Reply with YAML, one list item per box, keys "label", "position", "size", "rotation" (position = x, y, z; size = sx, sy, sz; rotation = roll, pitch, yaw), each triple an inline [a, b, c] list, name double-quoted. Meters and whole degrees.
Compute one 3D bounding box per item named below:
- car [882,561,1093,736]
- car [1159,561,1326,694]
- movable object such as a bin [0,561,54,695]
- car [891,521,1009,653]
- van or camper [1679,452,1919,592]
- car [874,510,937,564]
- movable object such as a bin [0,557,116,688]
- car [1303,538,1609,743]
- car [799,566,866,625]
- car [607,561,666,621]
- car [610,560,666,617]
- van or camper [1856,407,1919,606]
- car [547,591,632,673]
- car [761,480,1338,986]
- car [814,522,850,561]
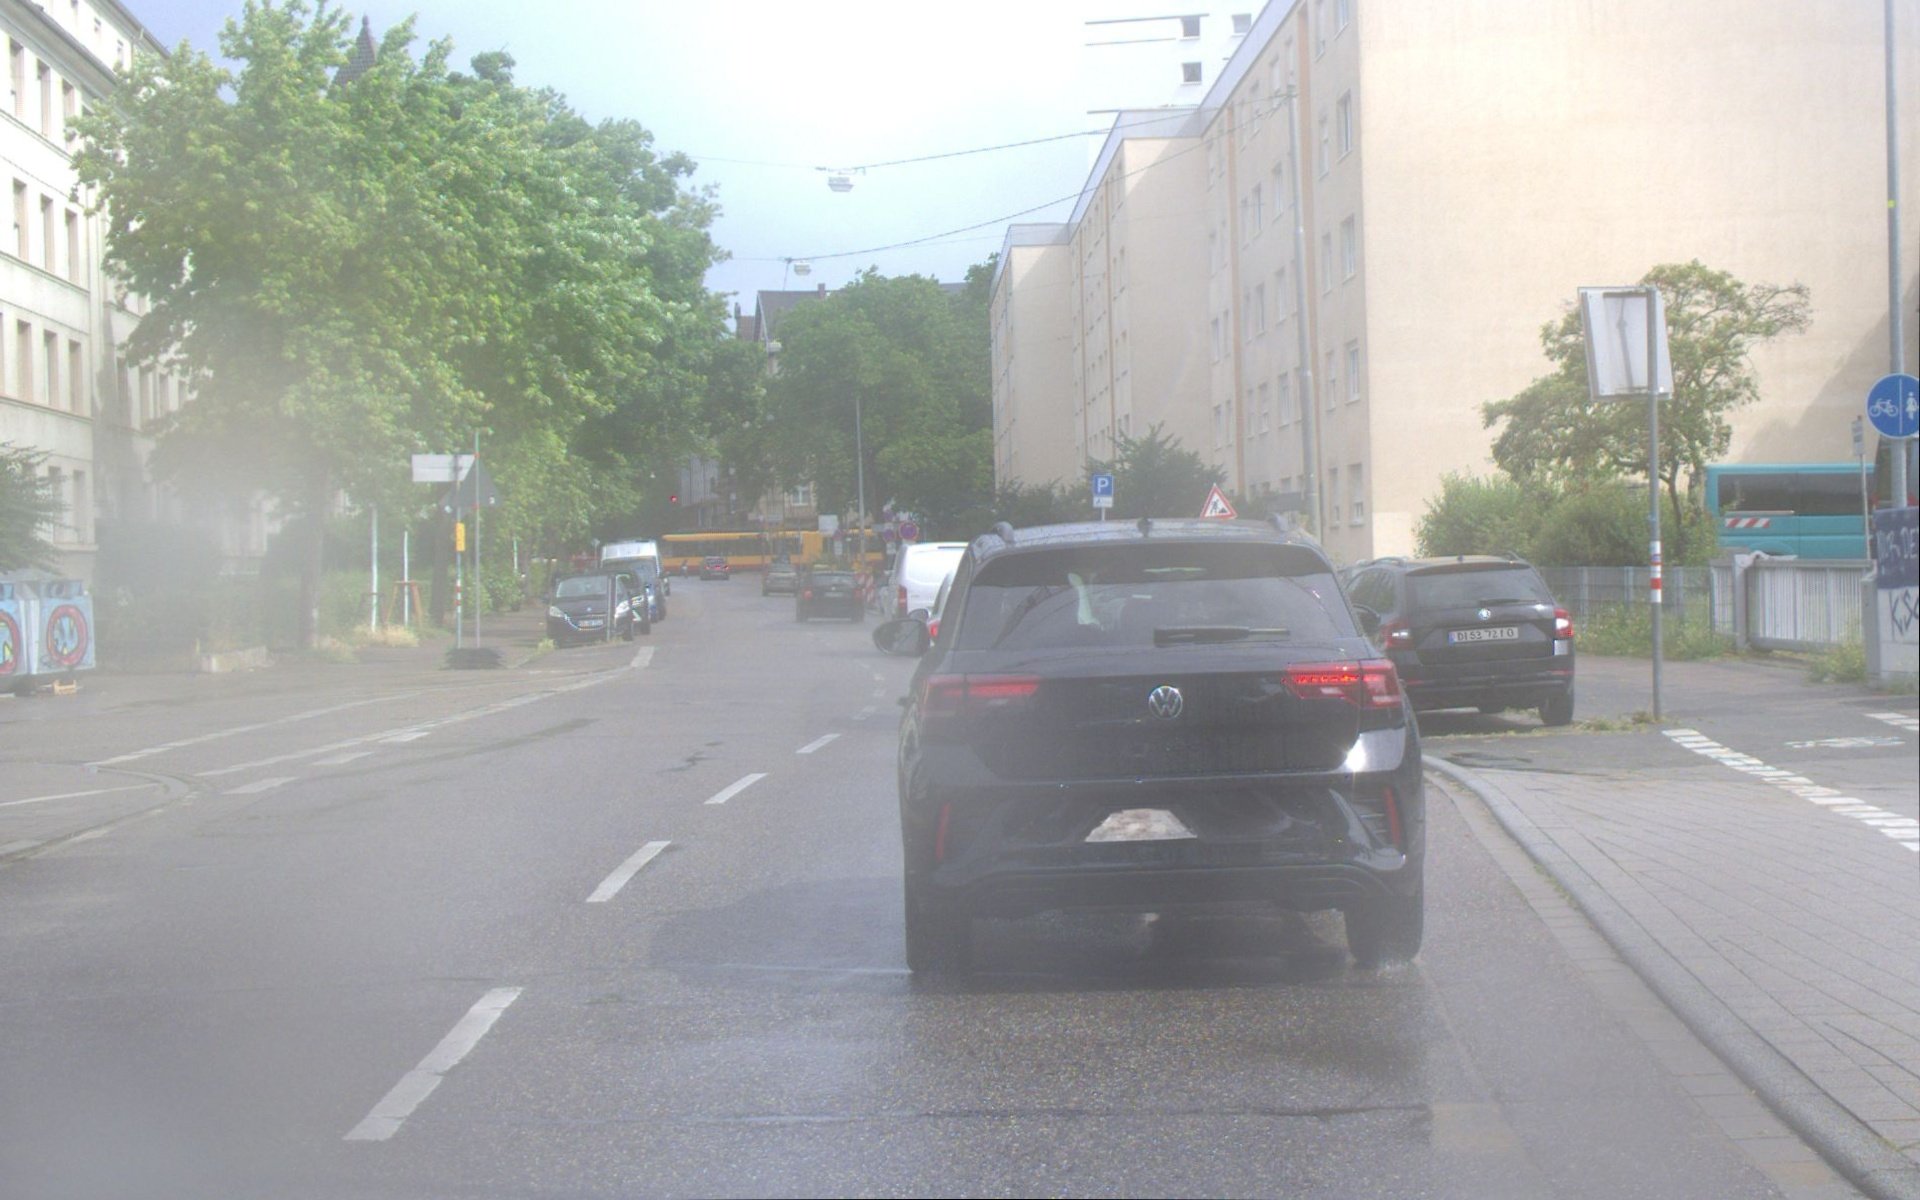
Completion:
- label: "car"
  position: [0.216, 0.429, 31.719]
  size: [1.813, 1.498, 4.000]
  rotation: [0, 0, -1]
- label: "car"
  position: [3.371, 0.337, 41.654]
  size: [1.757, 1.522, 4.000]
  rotation: [0, -1, 1]
- label: "movable object such as a bin"
  position: [-12.783, 0.372, 44.054]
  size: [1.539, 1.668, 1.664]
  rotation: [-2, 1, 18]
- label: "car"
  position: [-0.199, -0.205, 57.048]
  size: [1.836, 2.096, 4.000]
  rotation: [0, 0, -2]
- label: "van or camper"
  position: [14.195, -1.271, 55.395]
  size: [4.760, 2.124, 2.321]
  rotation: [-1, 1, 3]
- label: "car"
  position: [-1.700, -1.995, 109.013]
  size: [1.841, 1.602, 3.675]
  rotation: [-3, 1, 0]
- label: "movable object such as a bin"
  position: [-12.295, 0.296, 45.572]
  size: [1.539, 1.656, 1.457]
  rotation: [-2, 1, 19]
- label: "car"
  position: [4.215, 0.297, 29.877]
  size: [1.774, 1.534, 4.378]
  rotation: [-4, 1, -2]
- label: "car"
  position: [-3.505, -0.137, 93.911]
  size: [1.604, 1.505, 3.548]
  rotation: [-3, 1, -4]
- label: "car"
  position: [-9.391, -0.285, 99.867]
  size: [1.585, 1.634, 3.921]
  rotation: [-3, 1, -5]
- label: "car"
  position: [-9.900, -0.371, 105.757]
  size: [1.585, 1.634, 3.921]
  rotation: [-3, 1, -5]
- label: "van or camper"
  position: [14.559, -1.246, 45.108]
  size: [4.998, 2.546, 2.175]
  rotation: [-1, 0, 1]
- label: "car"
  position: [-7.492, 0.627, 69.767]
  size: [1.585, 1.500, 4.065]
  rotation: [-3, 1, -5]
- label: "car"
  position: [0.264, 0.435, 13.242]
  size: [1.873, 1.640, 4.062]
  rotation: [0, 0, -1]
- label: "car"
  position: [-6.404, -2.914, 171.942]
  size: [1.665, 1.831, 4.001]
  rotation: [-2, 1, -3]
